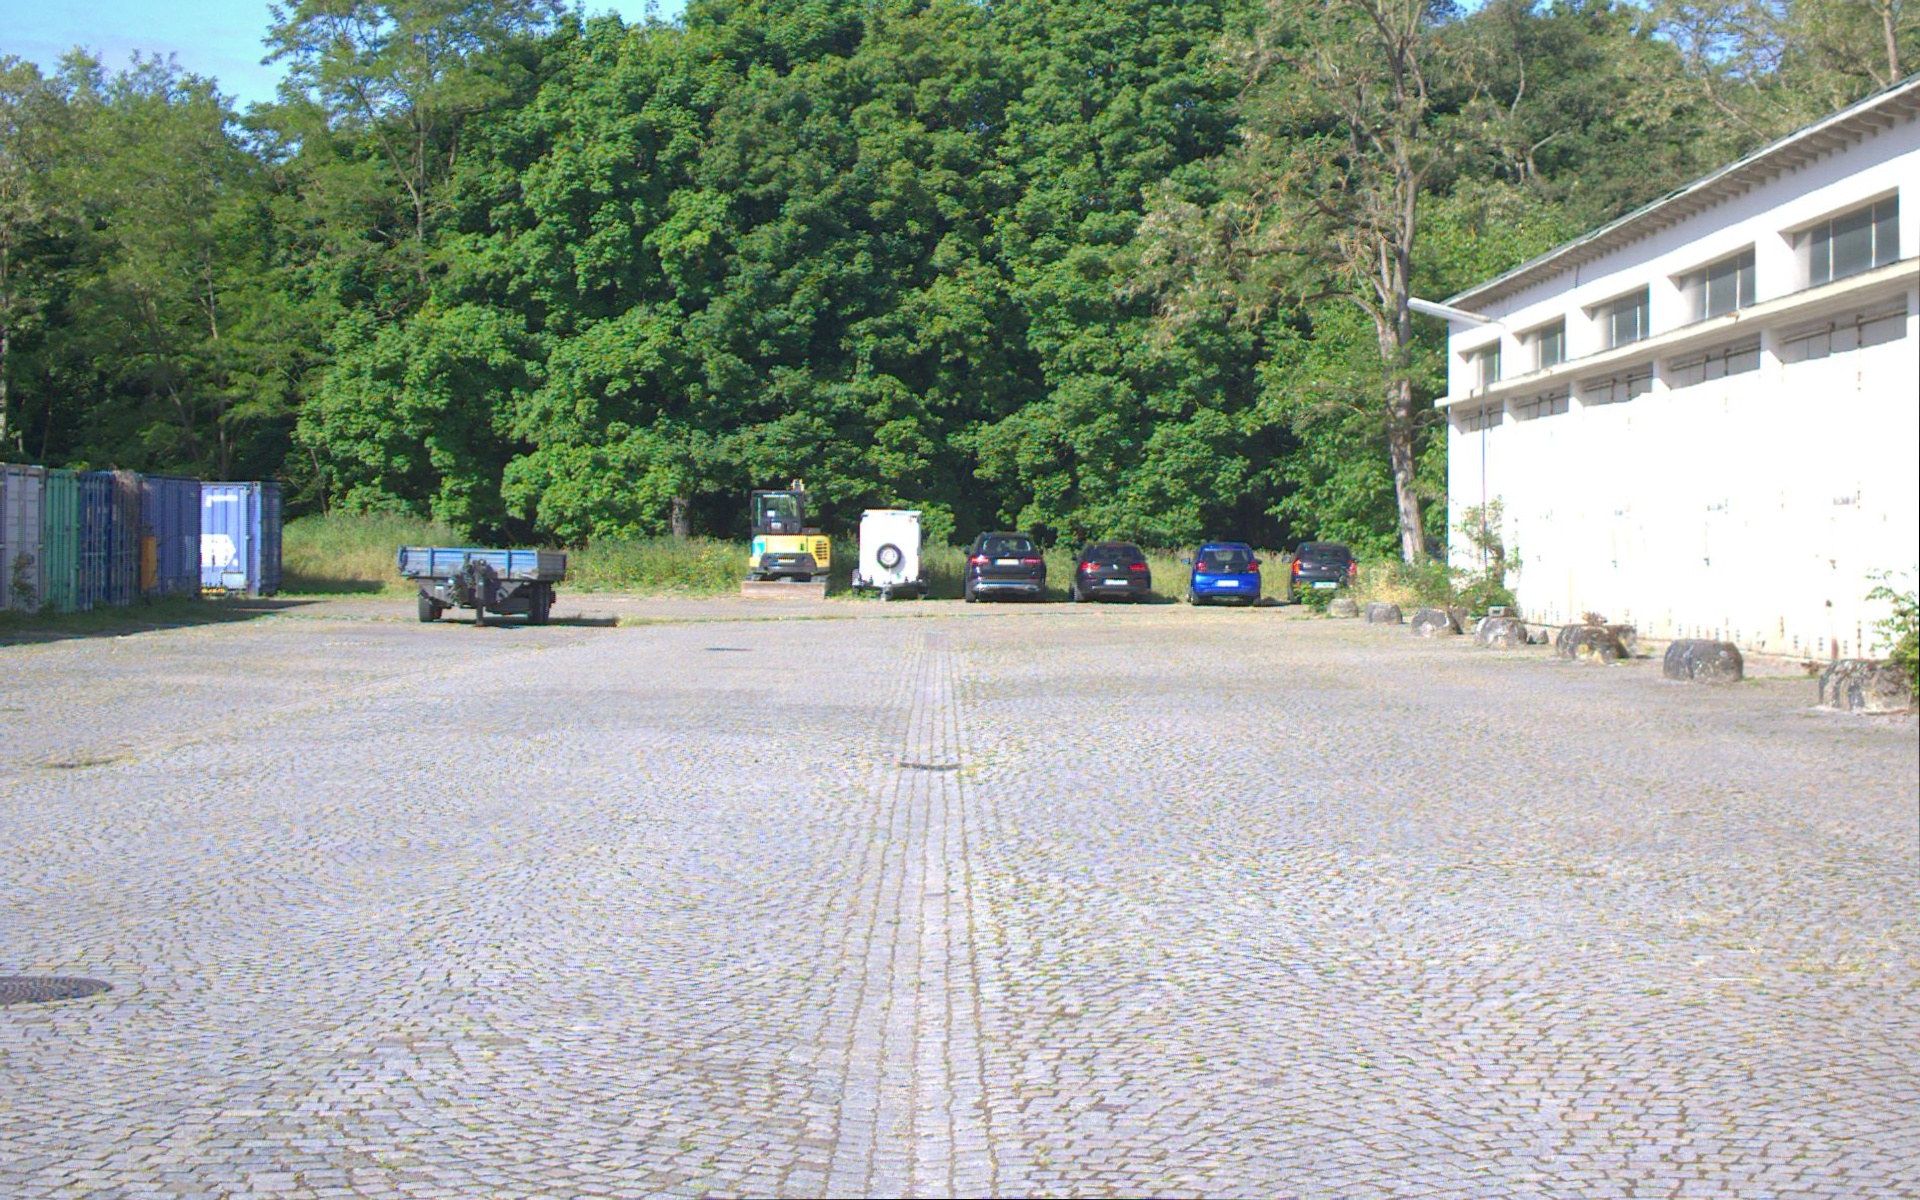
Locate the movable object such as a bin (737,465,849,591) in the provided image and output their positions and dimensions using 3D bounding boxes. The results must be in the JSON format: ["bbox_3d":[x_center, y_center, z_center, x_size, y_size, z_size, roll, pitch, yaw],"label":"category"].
[{"bbox_3d":[-4.021,-1.814,83.680,2.306,2.886,5.751,2,2,0],"label":"movable object such as a bin"}]

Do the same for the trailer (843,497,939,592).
[{"bbox_3d":[-1.642,-1.387,83.089,2.193,2.087,5.752,2,2,-1],"label":"trailer"}]

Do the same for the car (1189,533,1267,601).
[{"bbox_3d":[6.329,-0.796,81.011,1.744,1.431,4.182,2,2,5],"label":"car"}]

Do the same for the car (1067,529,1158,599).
[{"bbox_3d":[3.561,-0.870,81.076,1.863,1.465,4.296,2,2,-1],"label":"car"}]

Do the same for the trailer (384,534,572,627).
[{"bbox_3d":[-8.755,-0.392,63.027,2.705,1.460,6.248,2,2,-2],"label":"trailer"}]

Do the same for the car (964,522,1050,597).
[{"bbox_3d":[1.073,-0.979,80.711,1.863,1.583,4.296,2,2,-1],"label":"car"}]

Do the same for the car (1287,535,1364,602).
[{"bbox_3d":[8.773,-0.767,82.416,1.744,1.431,4.182,2,2,7],"label":"car"}]
